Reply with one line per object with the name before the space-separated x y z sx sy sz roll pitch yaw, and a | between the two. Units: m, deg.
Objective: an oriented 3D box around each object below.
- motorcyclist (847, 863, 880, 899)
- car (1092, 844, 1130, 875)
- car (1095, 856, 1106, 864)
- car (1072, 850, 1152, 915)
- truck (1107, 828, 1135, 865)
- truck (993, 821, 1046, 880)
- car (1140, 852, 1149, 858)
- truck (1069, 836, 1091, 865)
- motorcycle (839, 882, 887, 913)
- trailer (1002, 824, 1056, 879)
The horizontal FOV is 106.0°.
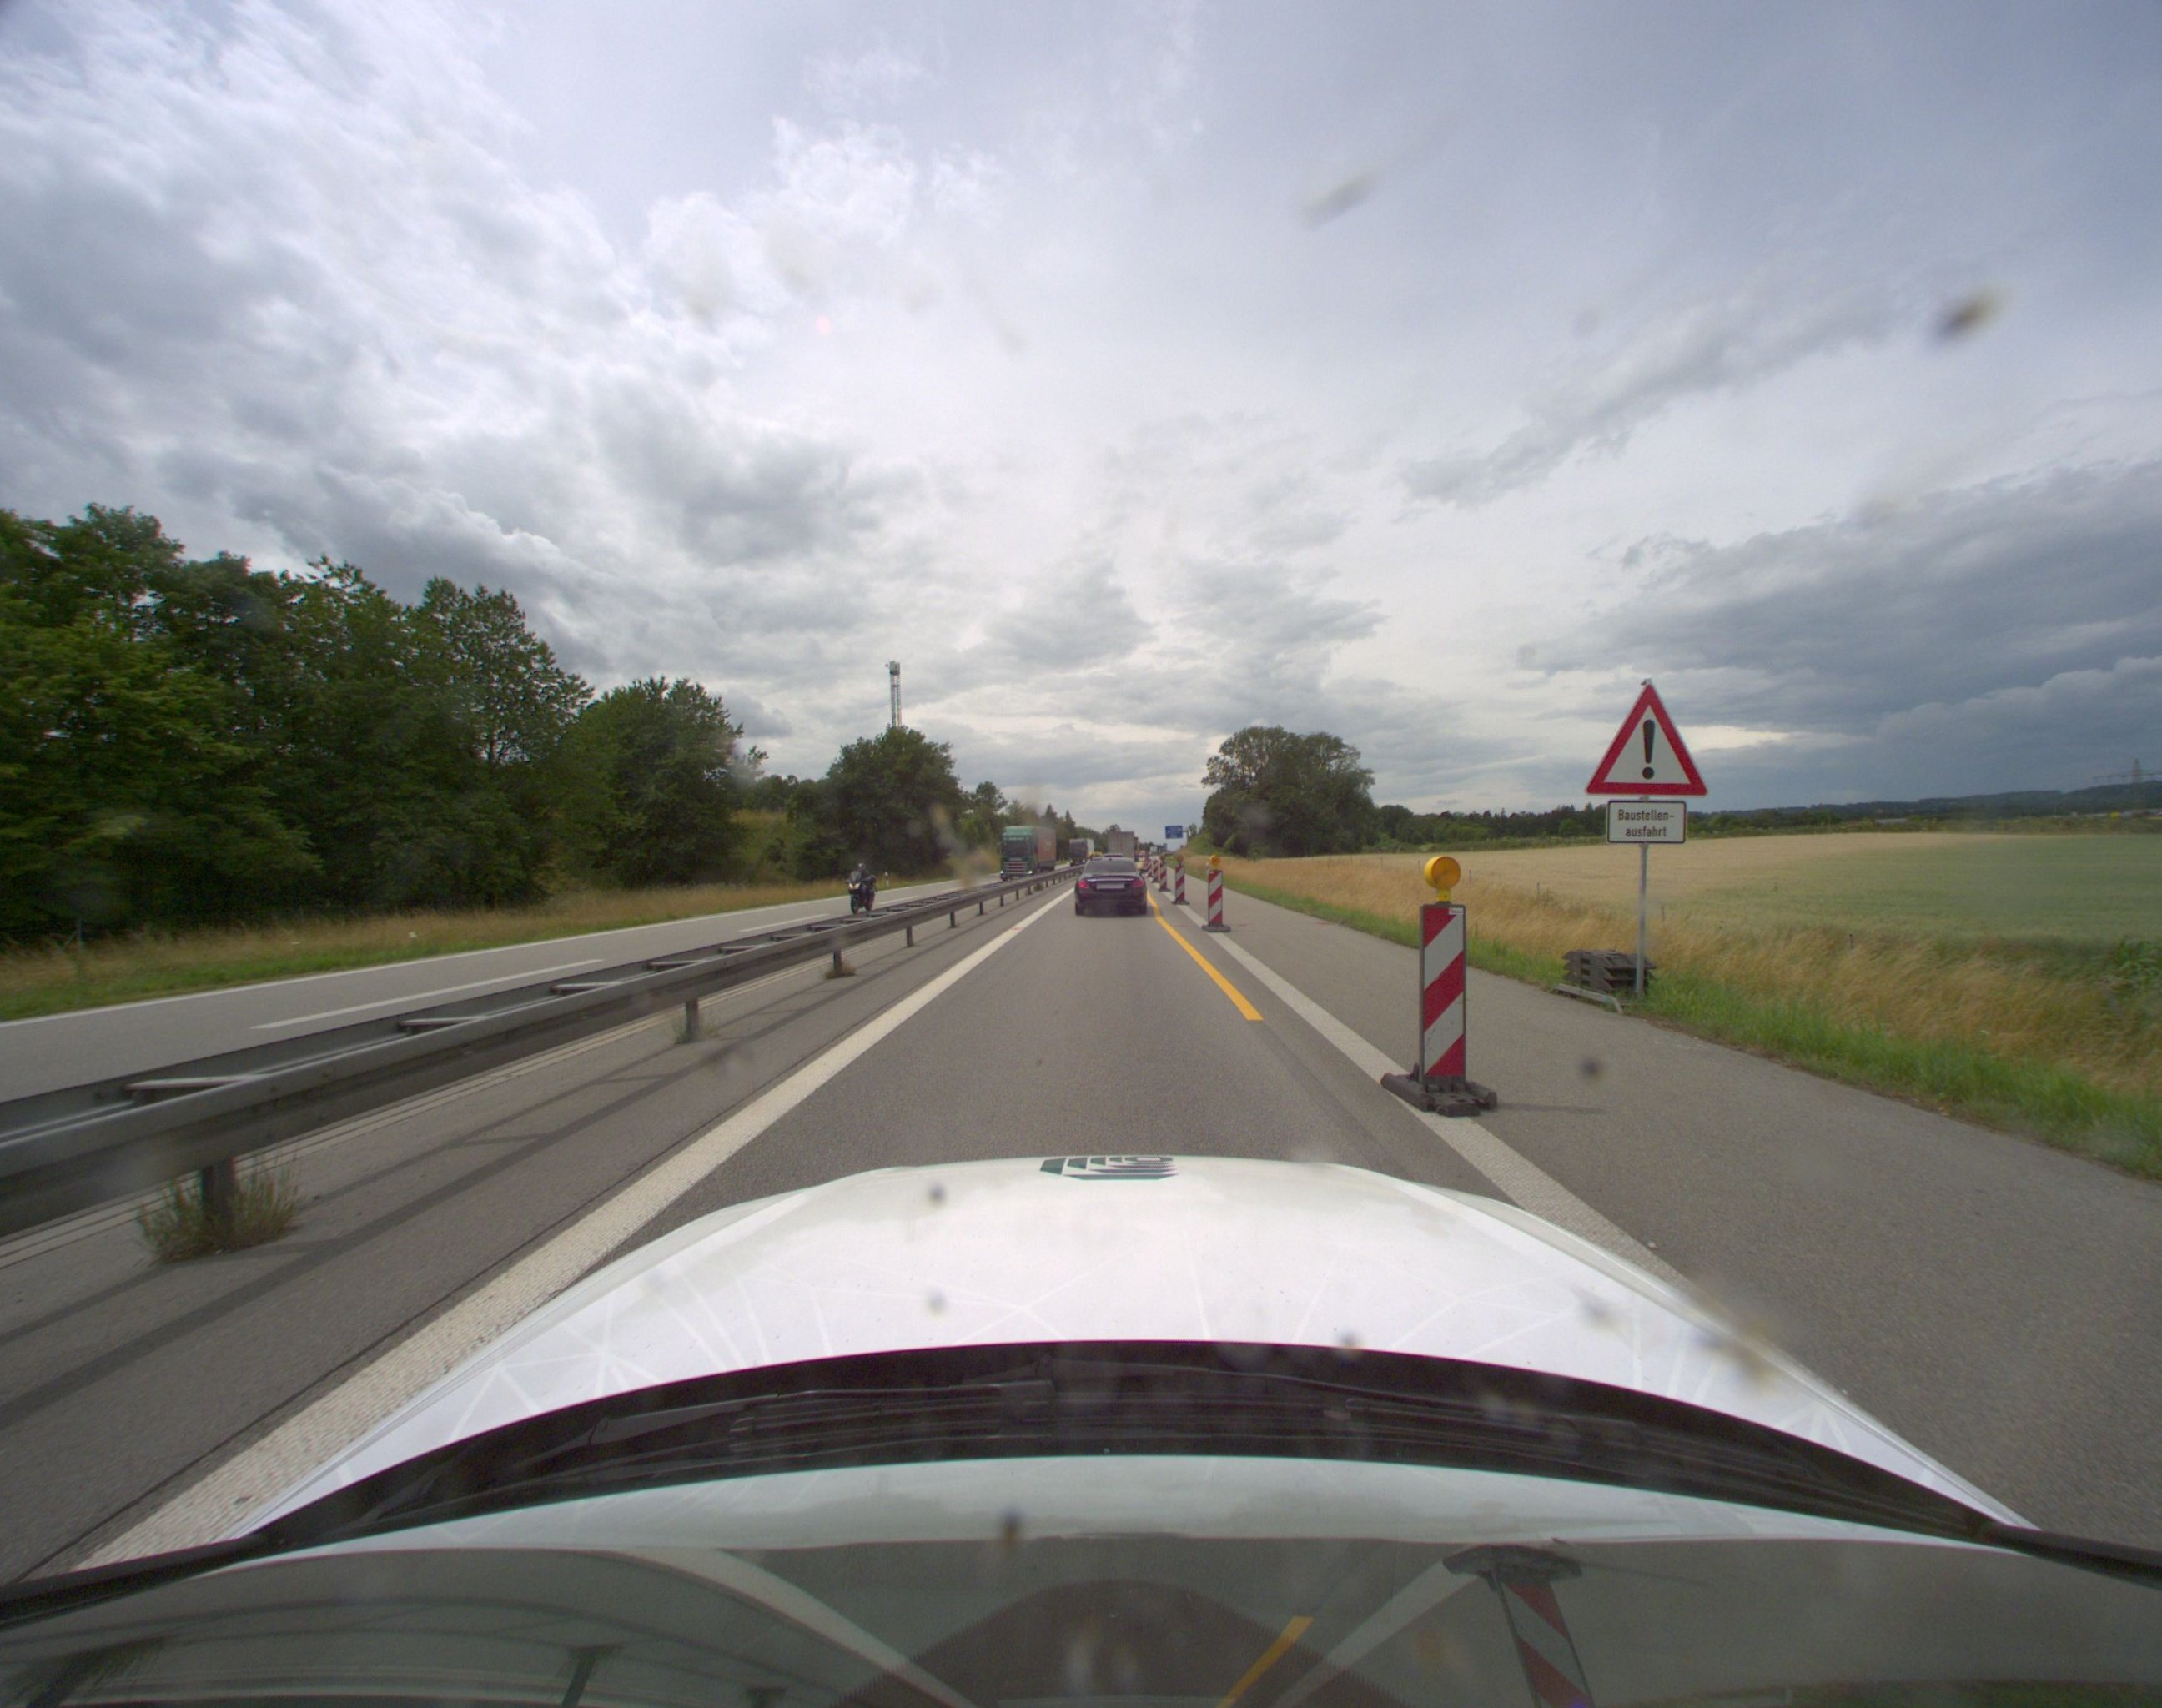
motorcyclist | -7.516 0.915 28.154 0.858 1.209 0.961 -1 -1 2
car | 1.968 0.390 54.256 1.991 2.014 3.991 0 -1 -6
car | 4.006 1.296 166.079 1.985 1.618 4.004 -1 -1 4
car | 0.910 0.714 21.561 1.786 1.560 4.007 -1 -1 7
truck | 3.926 -0.668 80.442 2.578 3.524 4.813 0 -1 1
truck | -4.522 -0.220 61.534 3.110 4.213 6.786 -1 -1 3
car | 15.003 0.337 192.789 1.645 1.396 3.703 0 -1 -2
truck | -0.098 -0.453 121.183 2.628 4.170 6.992 -1 -1 4
motorcycle | -7.517 1.493 28.242 0.852 0.934 2.725 -1 0 2
trailer | -4.170 -0.099 68.193 3.138 4.213 11.650 -1 -1 3
